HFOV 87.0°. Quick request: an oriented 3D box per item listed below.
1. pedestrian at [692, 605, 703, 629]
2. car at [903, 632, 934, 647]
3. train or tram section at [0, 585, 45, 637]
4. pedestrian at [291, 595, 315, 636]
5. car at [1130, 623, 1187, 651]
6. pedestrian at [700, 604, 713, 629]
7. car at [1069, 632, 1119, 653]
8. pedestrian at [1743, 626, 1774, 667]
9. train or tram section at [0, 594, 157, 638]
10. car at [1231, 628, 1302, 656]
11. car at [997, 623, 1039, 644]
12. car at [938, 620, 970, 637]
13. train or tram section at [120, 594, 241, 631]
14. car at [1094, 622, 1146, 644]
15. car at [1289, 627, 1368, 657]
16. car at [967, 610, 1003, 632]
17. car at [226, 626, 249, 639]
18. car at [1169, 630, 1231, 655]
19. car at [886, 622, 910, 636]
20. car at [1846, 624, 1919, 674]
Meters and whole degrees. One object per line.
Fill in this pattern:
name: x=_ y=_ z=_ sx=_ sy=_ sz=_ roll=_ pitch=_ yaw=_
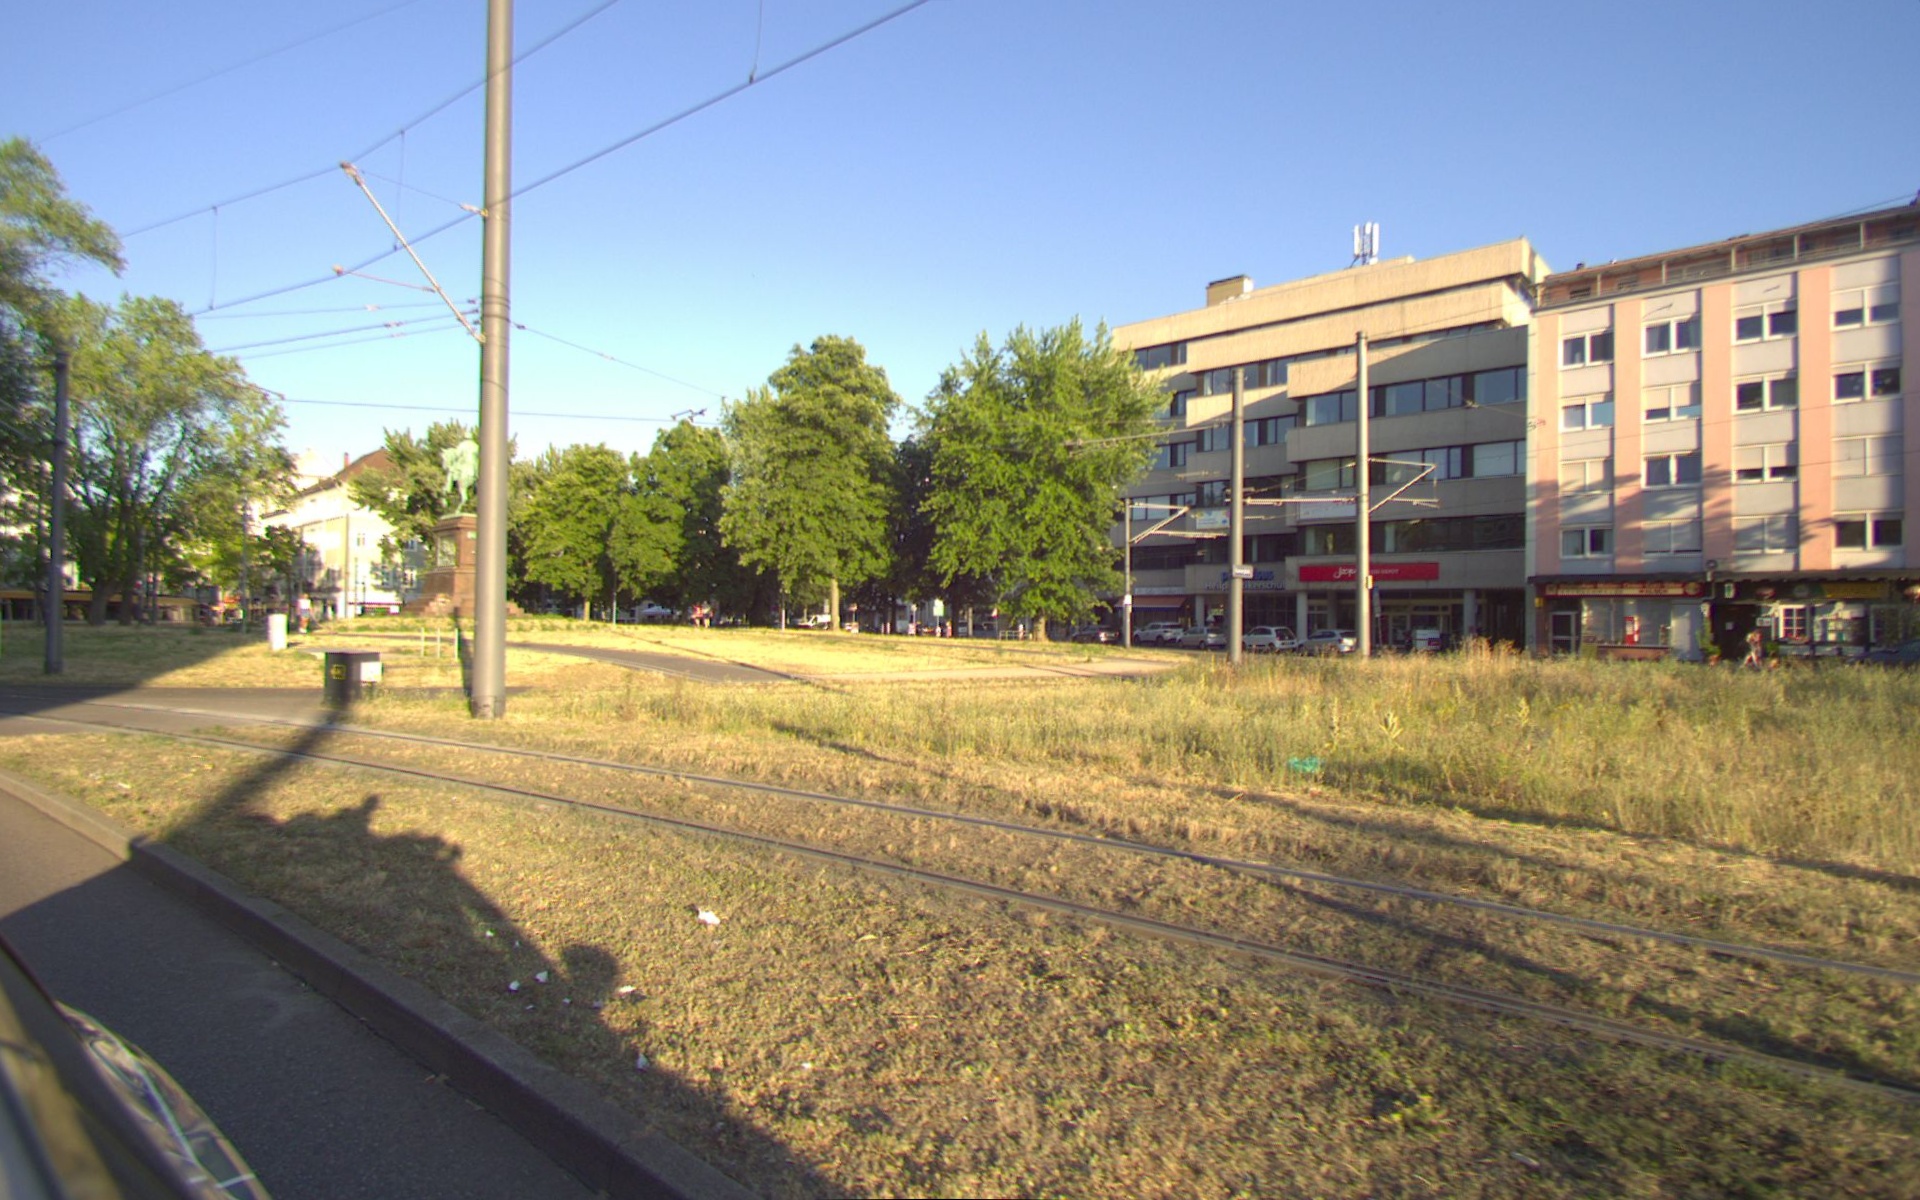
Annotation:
pedestrian: x=-17.275 y=1.116 z=66.558 sx=0.553 sy=1.524 sz=0.447 roll=-3 pitch=-3 yaw=45
car: x=-4.340 y=4.077 z=104.694 sx=1.833 sy=1.568 sz=4.081 roll=1 pitch=-3 yaw=-24
train or tram section: x=-67.453 y=0.707 z=67.410 sx=2.903 sy=3.611 sz=13.394 roll=0 pitch=-1 yaw=-10
pedestrian: x=-27.687 y=0.675 z=42.667 sx=0.832 sy=1.703 sz=0.471 roll=-1 pitch=-2 yaw=29
car: x=13.571 y=2.552 z=69.385 sx=1.729 sy=1.808 sz=4.222 roll=1 pitch=-3 yaw=-24
pedestrian: x=-16.598 y=1.089 z=66.331 sx=0.553 sy=1.593 sz=0.611 roll=-3 pitch=-3 yaw=45
car: x=9.419 y=3.011 z=71.192 sx=1.681 sy=1.401 sz=4.013 roll=1 pitch=-3 yaw=-23
pedestrian: x=30.950 y=1.806 z=39.239 sx=0.853 sy=1.540 sz=1.106 roll=-3 pitch=-3 yaw=41
train or tram section: x=-69.537 y=1.262 z=80.354 sx=2.886 sy=3.165 sz=12.879 roll=0 pitch=-1 yaw=-8
car: x=17.744 y=2.447 z=58.742 sx=1.729 sy=1.564 sz=4.013 roll=1 pitch=-3 yaw=-24
car: x=5.106 y=3.028 z=89.762 sx=1.906 sy=1.808 sz=4.222 roll=1 pitch=-3 yaw=-24
car: x=-0.628 y=2.963 z=103.227 sx=1.729 sy=1.676 sz=4.013 roll=1 pitch=-3 yaw=-24
train or tram section: x=-71.312 y=1.176 z=93.096 sx=2.880 sy=3.165 sz=12.666 roll=0 pitch=-1 yaw=-8
car: x=11.896 y=2.482 z=75.568 sx=1.833 sy=1.568 sz=4.081 roll=1 pitch=-3 yaw=-24
car: x=19.604 y=2.238 z=53.990 sx=1.729 sy=1.564 sz=4.013 roll=0 pitch=-3 yaw=-21
car: x=2.318 y=2.040 z=95.759 sx=1.729 sy=1.959 sz=4.222 roll=1 pitch=-3 yaw=-24
car: x=-94.464 y=4.250 z=132.249 sx=3.968 sy=1.564 sz=1.700 roll=-3 pitch=-3 yaw=44
car: x=15.228 y=2.697 z=64.368 sx=1.729 sy=1.564 sz=4.013 roll=1 pitch=-3 yaw=-24
car: x=-7.402 y=3.503 z=120.003 sx=1.766 sy=1.592 sz=4.013 roll=0 pitch=-3 yaw=-21
car: x=29.982 y=1.488 z=30.905 sx=1.729 sy=1.538 sz=4.013 roll=1 pitch=-3 yaw=-24
